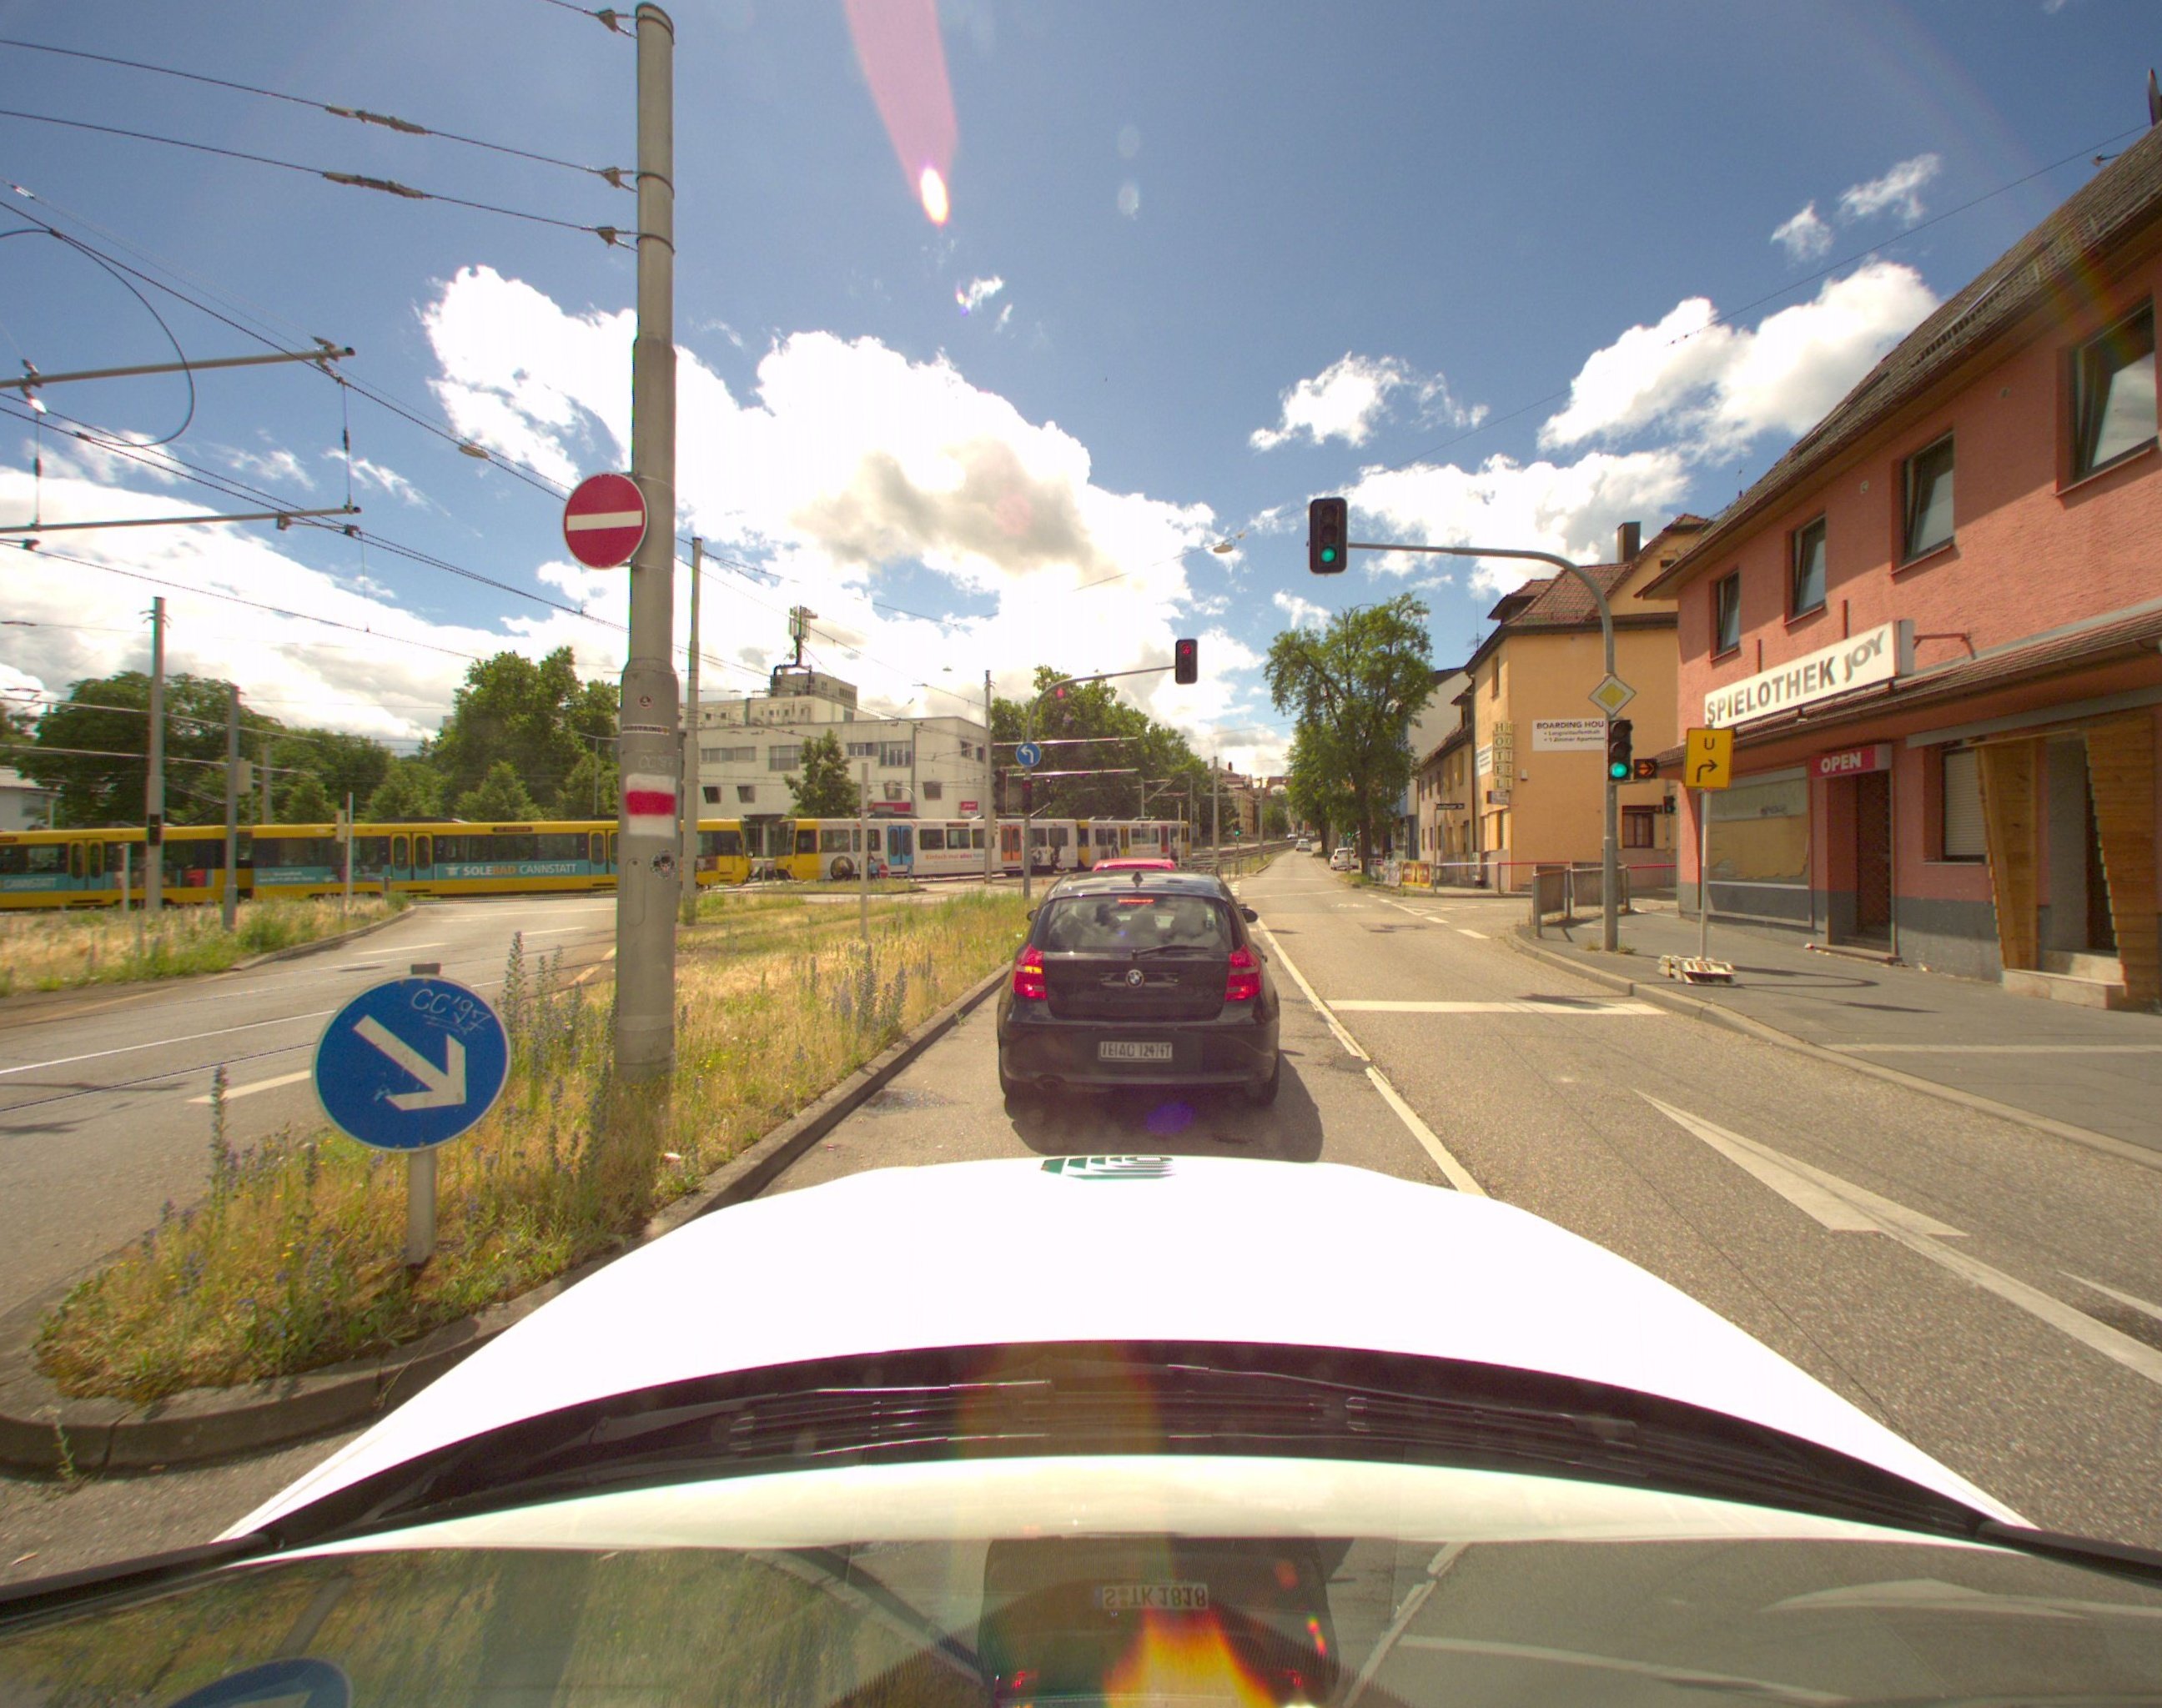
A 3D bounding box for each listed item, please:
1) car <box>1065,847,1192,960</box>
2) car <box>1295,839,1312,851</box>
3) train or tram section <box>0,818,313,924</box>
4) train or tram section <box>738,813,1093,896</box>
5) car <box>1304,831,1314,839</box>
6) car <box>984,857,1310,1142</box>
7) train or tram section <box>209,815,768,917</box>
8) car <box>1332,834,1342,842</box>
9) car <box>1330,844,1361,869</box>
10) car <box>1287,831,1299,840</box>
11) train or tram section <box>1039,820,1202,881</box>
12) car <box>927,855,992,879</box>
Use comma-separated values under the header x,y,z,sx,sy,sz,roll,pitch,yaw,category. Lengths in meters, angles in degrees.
x,y,z,sx,sy,sz,roll,pitch,yaw,category
0.894,0.697,12.913,1.616,1.473,4.009,-2,-1,8,car
29.212,-1.141,106.701,1.800,1.468,4.020,-1,0,20,car
-43.150,0.846,34.052,18.762,3.919,3.763,-2,-1,1,train or tram section
-8.223,-0.057,46.341,20.748,3.879,3.716,-1,-1,-42,train or tram section
57.696,-4.810,206.025,1.976,2.014,4.022,-2,-1,23,car
0.342,0.797,6.324,1.696,1.452,3.999,-2,-1,0,car
-25.068,0.350,36.802,20.141,3.829,3.738,-1,-1,-19,train or tram section
50.365,-3.198,160.238,1.801,1.468,4.018,2,1,17,car
18.029,0.213,55.600,1.774,1.596,4.016,-2,-1,15,car
48.658,-4.267,186.921,1.976,2.014,4.022,-2,-1,23,car
3.774,-0.203,61.607,3.713,3.814,20.173,-2,-1,29,train or tram section
-8.462,0.881,56.954,4.191,1.585,1.837,-1,-1,-41,car
